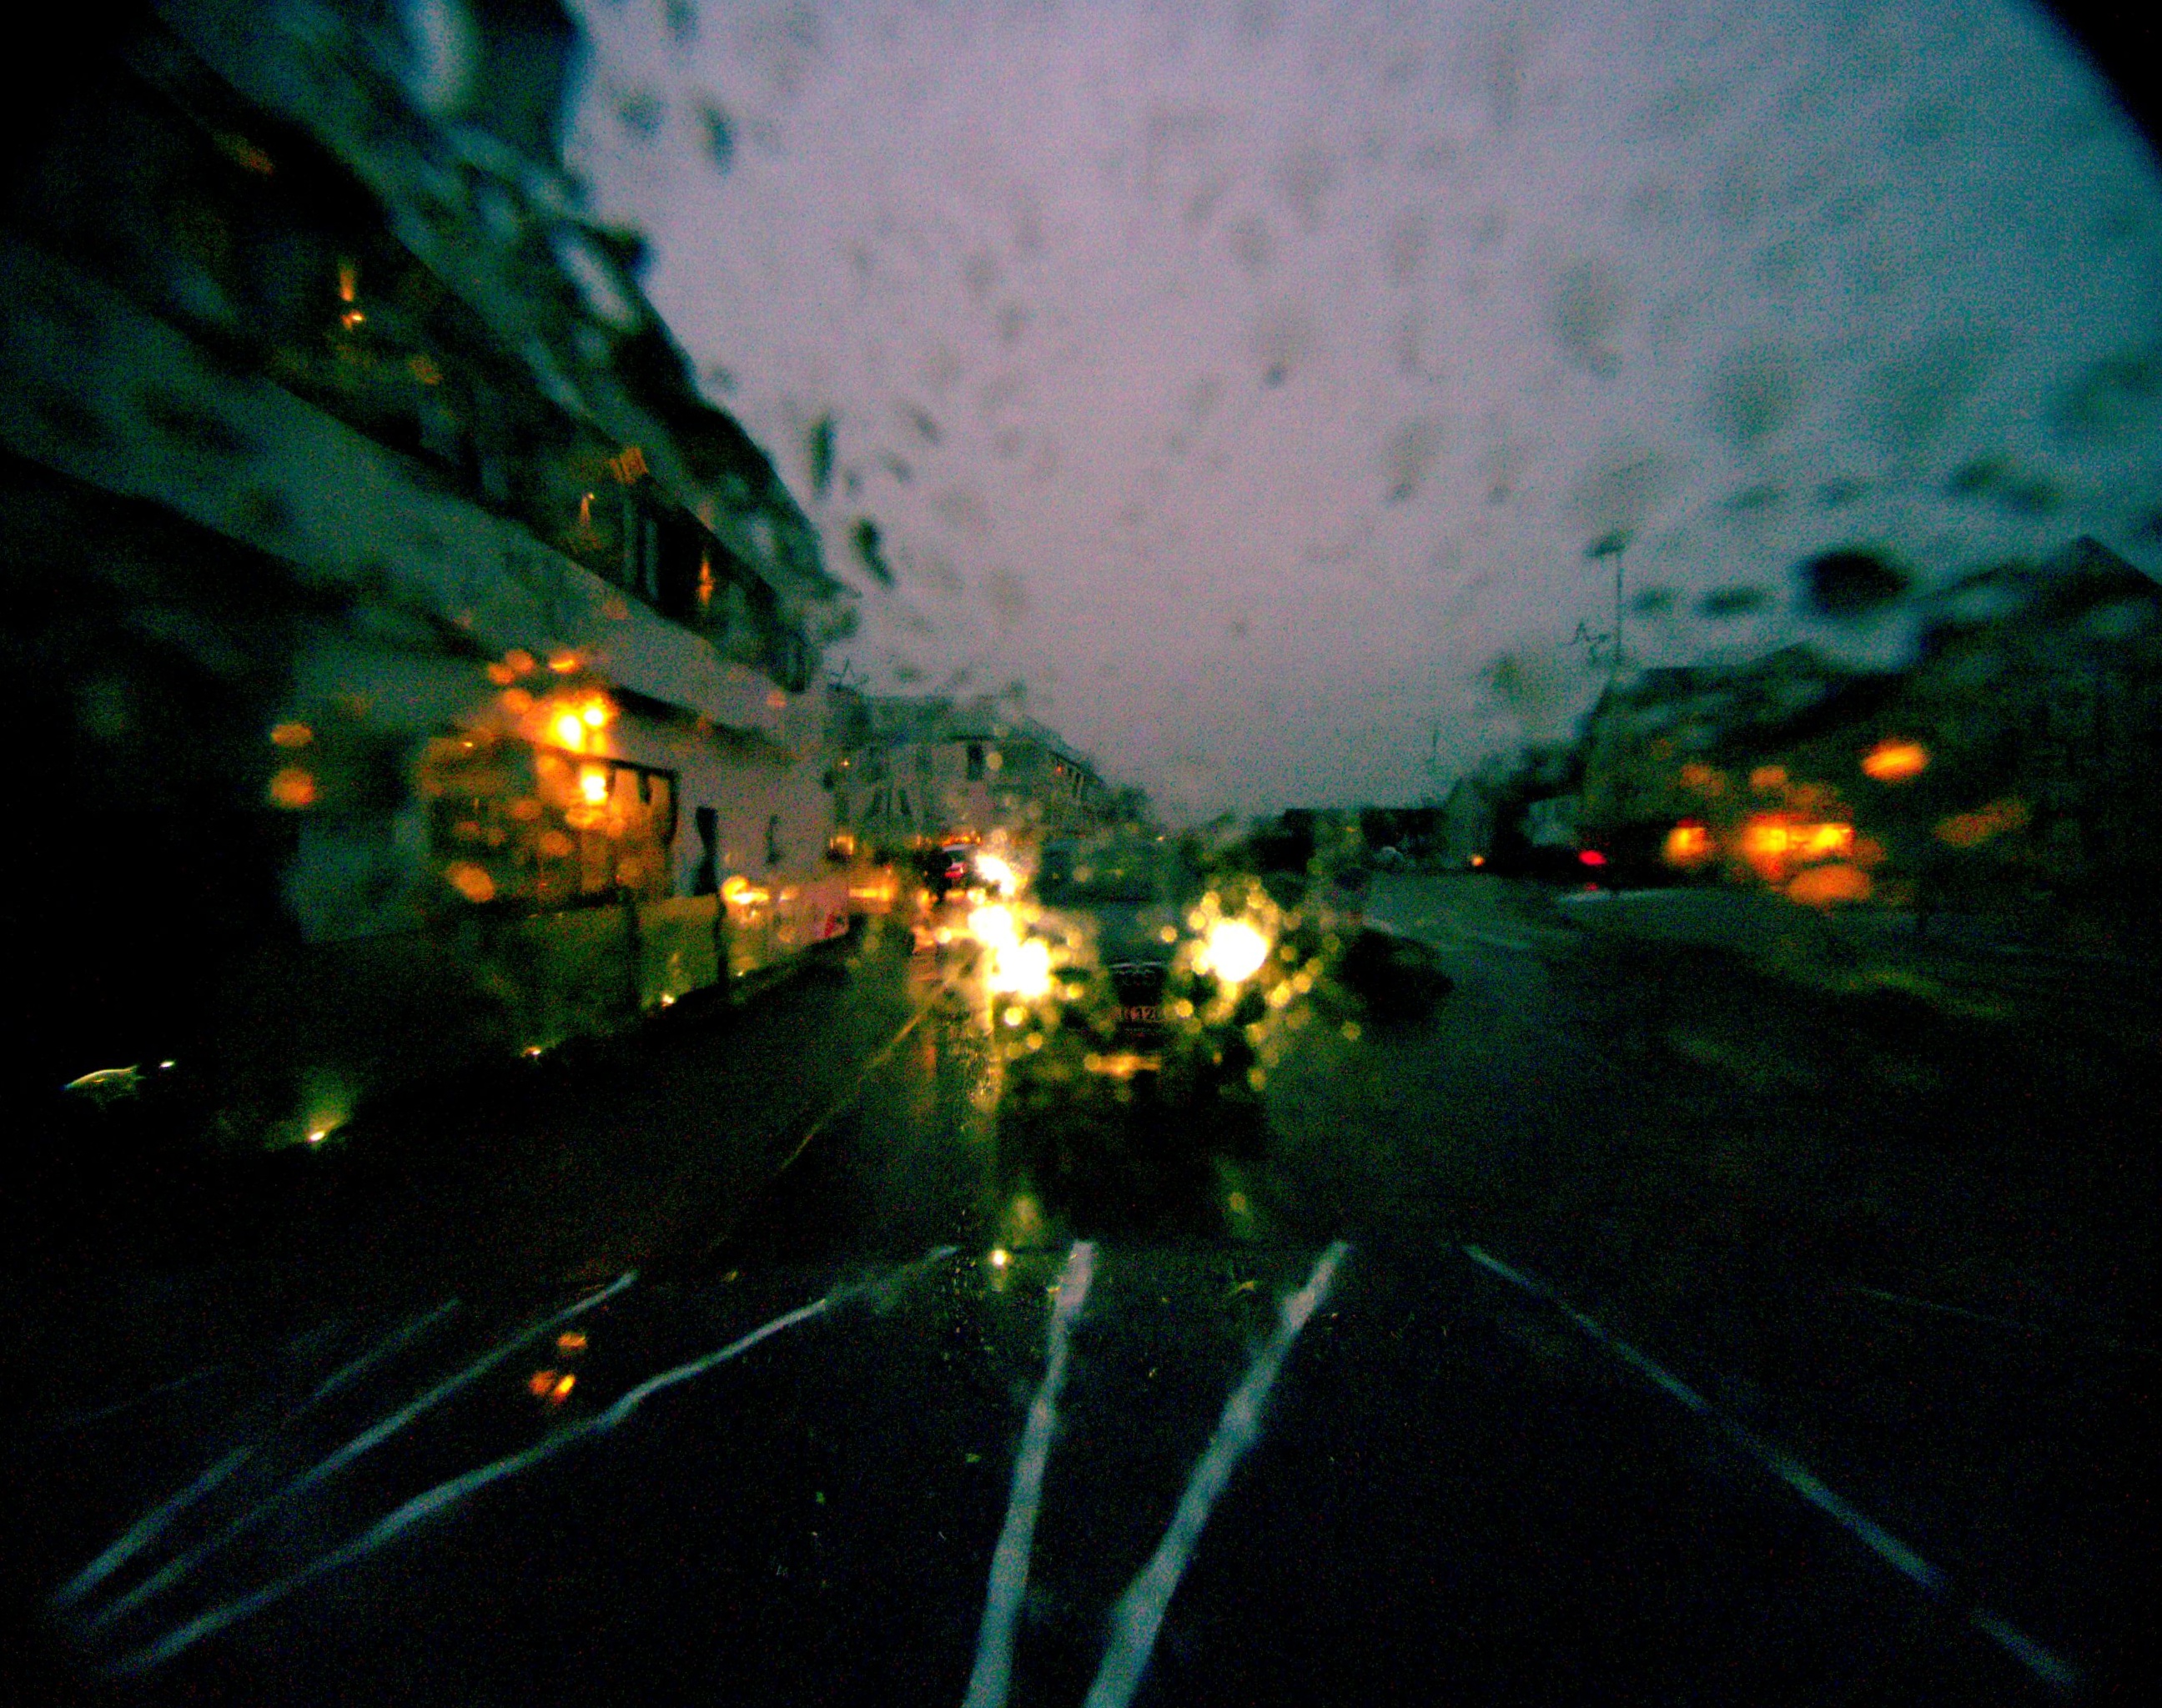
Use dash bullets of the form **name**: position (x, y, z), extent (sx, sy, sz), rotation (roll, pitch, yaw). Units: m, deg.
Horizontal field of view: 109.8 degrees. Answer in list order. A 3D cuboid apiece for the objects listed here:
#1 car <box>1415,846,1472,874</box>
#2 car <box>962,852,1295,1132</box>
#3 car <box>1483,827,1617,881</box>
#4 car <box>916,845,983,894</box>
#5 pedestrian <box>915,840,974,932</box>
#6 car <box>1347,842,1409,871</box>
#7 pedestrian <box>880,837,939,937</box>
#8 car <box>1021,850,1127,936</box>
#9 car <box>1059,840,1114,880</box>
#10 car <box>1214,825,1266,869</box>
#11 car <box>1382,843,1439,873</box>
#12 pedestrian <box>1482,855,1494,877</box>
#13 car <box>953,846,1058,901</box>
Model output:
- **car**: position (27.267, 0.398, 57.275), extent (1.936, 1.871, 3.866), rotation (-3, 3, -13)
- **car**: position (0.253, 0.818, 6.588), extent (1.958, 1.576, 4.109), rotation (-1, 1, -1)
- **car**: position (19.351, -0.021, 31.450), extent (4.451, 2.003, 2.003), rotation (0, 4, 42)
- **car**: position (-5.384, 0.598, 31.599), extent (1.824, 1.736, 3.999), rotation (-2, 2, 3)
- **pedestrian**: position (-2.726, 0.617, 15.187), extent (0.789, 1.752, 0.770), rotation (1, 4, 44)
- **car**: position (21.981, 0.137, 56.362), extent (1.974, 1.984, 3.990), rotation (-3, 3, -26)
- **pedestrian**: position (-3.312, 0.611, 14.679), extent (0.789, 1.856, 0.711), rotation (1, 4, 44)
- **car**: position (-0.283, 0.727, 16.480), extent (1.764, 1.471, 4.016), rotation (-2, 2, -8)
- **car**: position (0.232, 0.198, 32.844), extent (2.172, 1.469, 3.998), rotation (-2, 2, 1)
- **car**: position (8.033, -0.420, 38.098), extent (2.055, 1.976, 4.541), rotation (-1, 3, 18)
- **car**: position (24.604, 0.238, 56.927), extent (1.926, 2.003, 3.966), rotation (-3, 3, -13)
- **pedestrian**: position (29.684, 0.875, 55.429), extent (0.582, 1.602, 0.500), rotation (-2, 3, 5)
- **car**: position (-2.562, 0.550, 24.697), extent (2.031, 1.471, 4.547), rotation (-3, 3, -24)
